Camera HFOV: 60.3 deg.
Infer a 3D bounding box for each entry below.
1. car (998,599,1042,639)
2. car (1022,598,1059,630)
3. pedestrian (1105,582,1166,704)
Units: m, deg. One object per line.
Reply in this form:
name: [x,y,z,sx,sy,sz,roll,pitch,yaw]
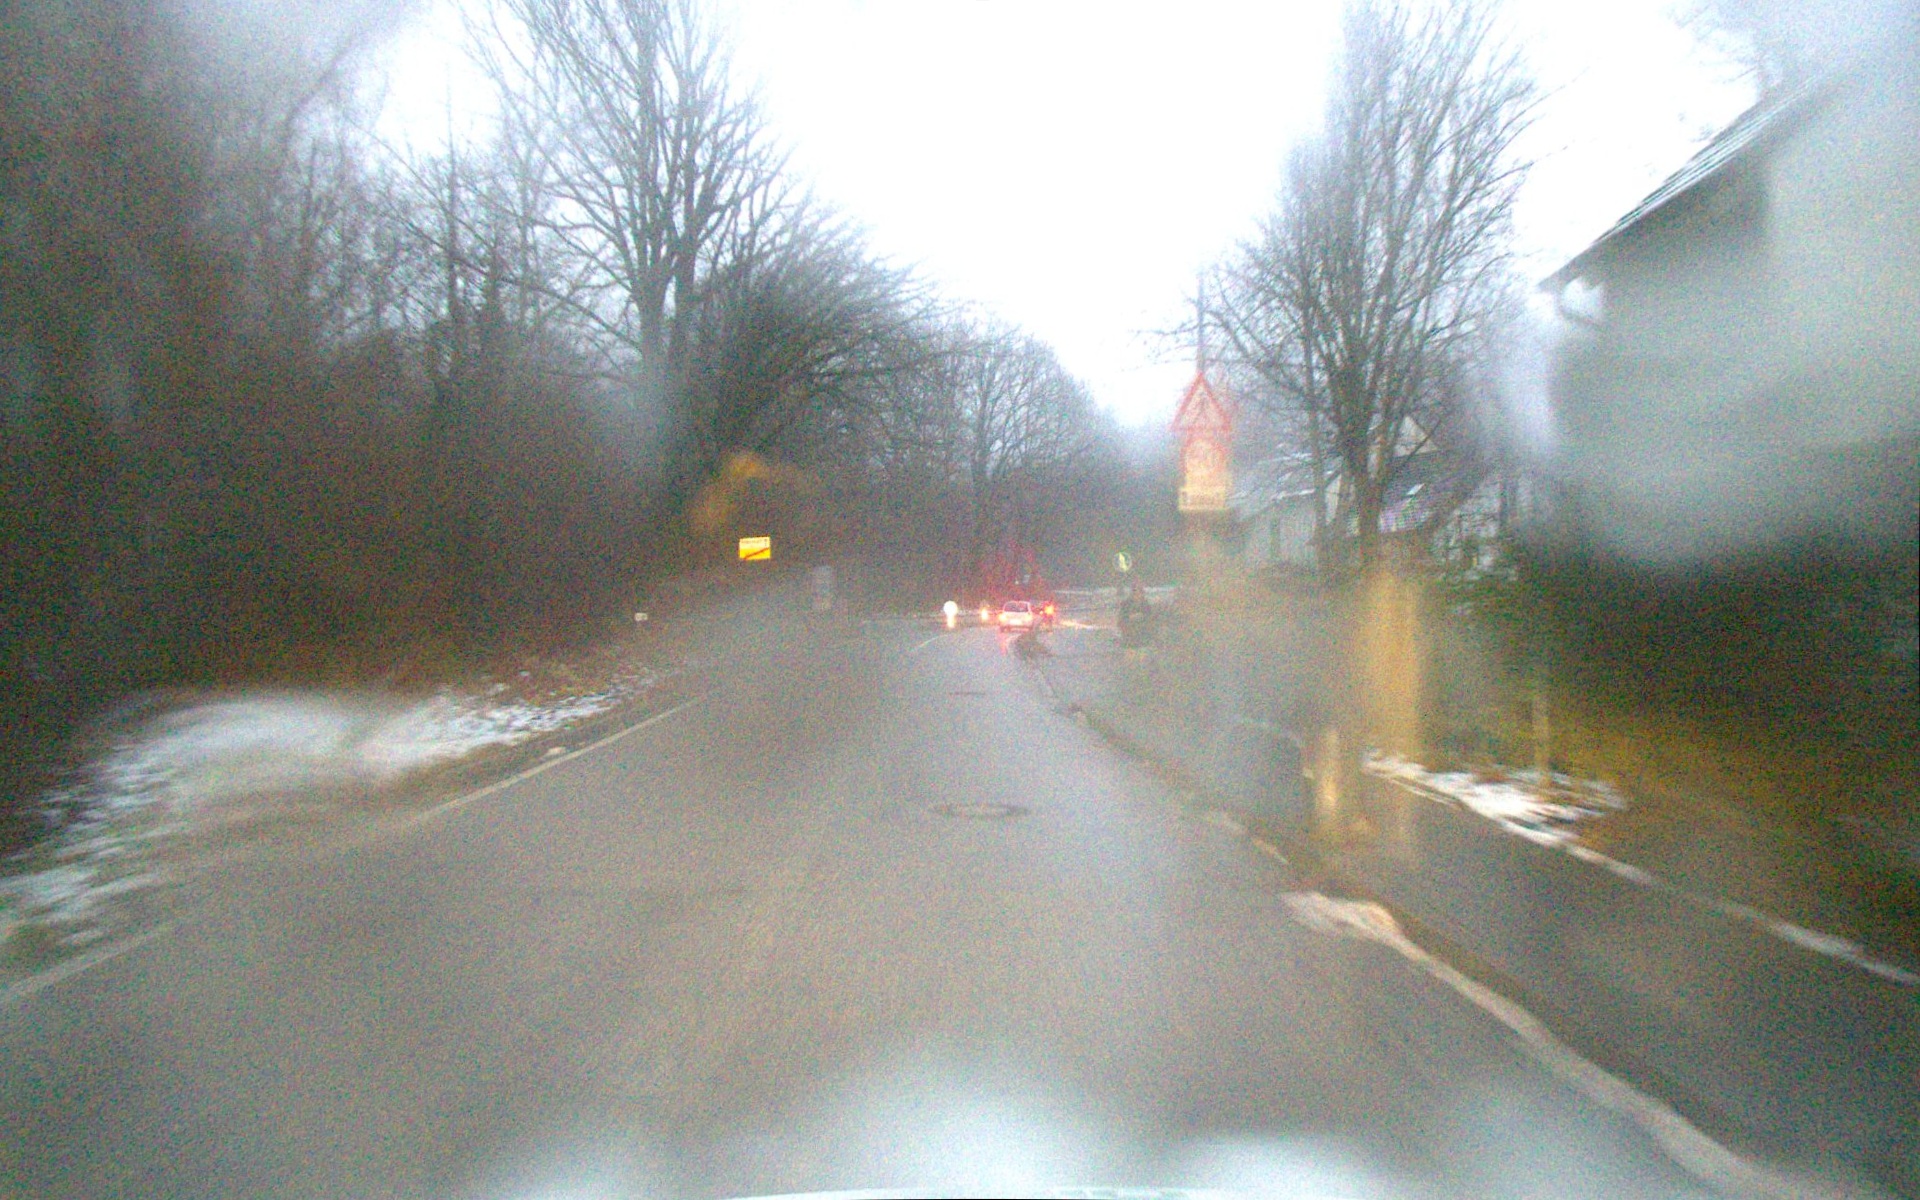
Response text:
car: [2.890,0.877,78.991,1.892,1.812,4.003,0,0,5]
car: [4.437,0.755,91.749,1.893,1.705,4.000,0,0,1]
pedestrian: [2.467,0.597,23.368,0.728,1.684,0.970,0,0,-2]
